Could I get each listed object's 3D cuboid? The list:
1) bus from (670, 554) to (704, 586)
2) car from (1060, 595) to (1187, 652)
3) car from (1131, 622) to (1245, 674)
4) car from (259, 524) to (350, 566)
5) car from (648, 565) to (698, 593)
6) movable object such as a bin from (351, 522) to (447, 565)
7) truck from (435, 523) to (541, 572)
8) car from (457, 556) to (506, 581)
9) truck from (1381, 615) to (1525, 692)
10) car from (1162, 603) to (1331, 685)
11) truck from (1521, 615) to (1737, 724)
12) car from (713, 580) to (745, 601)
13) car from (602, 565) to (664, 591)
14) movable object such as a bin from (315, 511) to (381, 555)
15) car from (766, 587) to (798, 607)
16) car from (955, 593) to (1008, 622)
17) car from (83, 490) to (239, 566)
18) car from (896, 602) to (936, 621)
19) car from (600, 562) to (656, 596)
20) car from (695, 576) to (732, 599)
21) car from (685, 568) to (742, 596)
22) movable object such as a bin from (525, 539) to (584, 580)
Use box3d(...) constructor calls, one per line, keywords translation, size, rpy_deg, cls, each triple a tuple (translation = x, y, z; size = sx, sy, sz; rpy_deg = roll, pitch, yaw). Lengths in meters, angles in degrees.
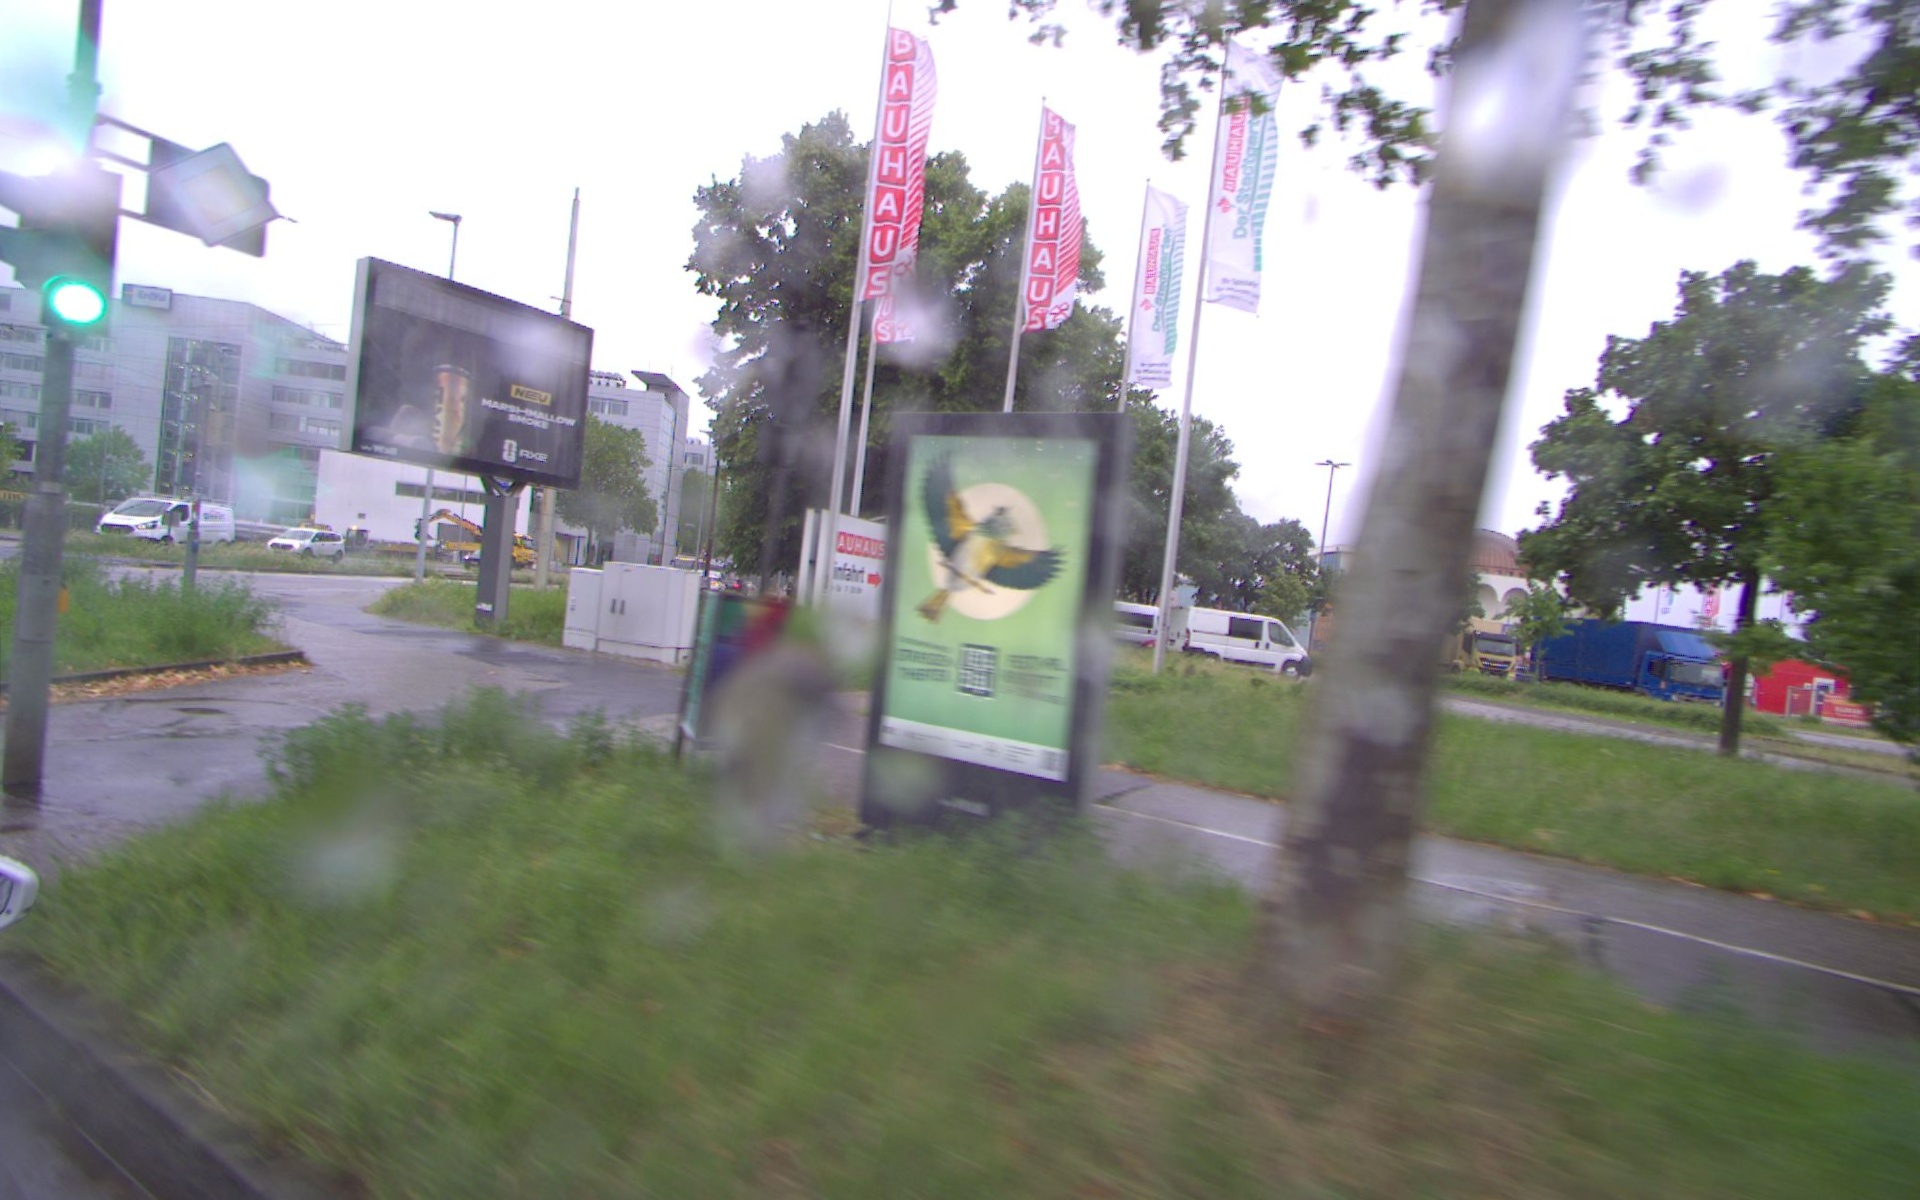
box3d(translation=(-29.736, -3.240, 109.831), size=(2.485, 3.074, 8.513), rpy_deg=(5, 0, -10), cls="bus")
box3d(translation=(8.321, 1.184, 51.673), size=(5.954, 2.232, 2.190), rpy_deg=(6, 1, -2), cls="car")
box3d(translation=(9.226, 1.939, 40.885), size=(3.931, 1.616, 1.997), rpy_deg=(6, 0, -9), cls="car")
box3d(translation=(-32.672, -2.701, 50.281), size=(1.744, 1.641, 4.379), rpy_deg=(6, 0, -4), cls="car")
box3d(translation=(-18.667, -1.349, 65.622), size=(1.892, 1.509, 4.829), rpy_deg=(6, -1, -2), cls="car")
box3d(translation=(-50.826, -5.127, 91.352), size=(6.600, 3.034, 3.325), rpy_deg=(6, 0, -4), cls="movable object such as a bin")
box3d(translation=(-42.905, -4.745, 91.640), size=(7.746, 3.552, 3.326), rpy_deg=(6, 1, -4), cls="truck")
box3d(translation=(-35.471, -2.289, 74.711), size=(1.768, 1.543, 4.640), rpy_deg=(6, 0, -7), cls="car")
box3d(translation=(26.262, 2.711, 54.245), size=(2.506, 3.511, 9.399), rpy_deg=(7, -1, -2), cls="truck")
box3d(translation=(9.886, 1.503, 34.962), size=(5.014, 2.231, 2.189), rpy_deg=(6, 0, -8), cls="car")
box3d(translation=(26.395, 2.568, 40.344), size=(2.507, 3.512, 8.010), rpy_deg=(7, 0, -4), cls="truck")
box3d(translation=(-20.378, -0.797, 88.965), size=(1.892, 1.605, 4.624), rpy_deg=(6, -1, -4), cls="car")
box3d(translation=(-30.255, -2.017, 93.150), size=(4.966, 1.673, 1.883), rpy_deg=(7, -2, 1), cls="car")
box3d(translation=(-50.366, -5.478, 82.921), size=(3.271, 3.034, 3.325), rpy_deg=(6, 0, -4), cls="movable object such as a bin")
box3d(translation=(-15.373, -0.234, 87.095), size=(1.892, 1.509, 4.829), rpy_deg=(6, -1, -2), cls="car")
box3d(translation=(1.993, 0.678, 94.667), size=(4.670, 2.240, 1.965), rpy_deg=(6, 0, -2), cls="car")
box3d(translation=(-28.347, -2.482, 35.924), size=(1.964, 2.151, 4.685), rpy_deg=(6, -1, -5), cls="car")
box3d(translation=(-4.395, 1.173, 100.596), size=(3.748, 1.508, 1.678), rpy_deg=(7, -1, -5), cls="car")
box3d(translation=(-18.207, -1.103, 55.304), size=(1.647, 1.508, 3.819), rpy_deg=(6, -1, 1), cls="car")
box3d(translation=(-19.616, -0.970, 80.107), size=(1.892, 1.606, 4.623), rpy_deg=(6, 0, -3), cls="car")
box3d(translation=(-24.361, -1.759, 99.554), size=(5.281, 2.036, 1.996), rpy_deg=(7, -2, -15), cls="car")
box3d(translation=(-40.372, -3.970, 100.444), size=(3.267, 3.551, 6.317), rpy_deg=(6, 0, -3), cls="movable object such as a bin")
